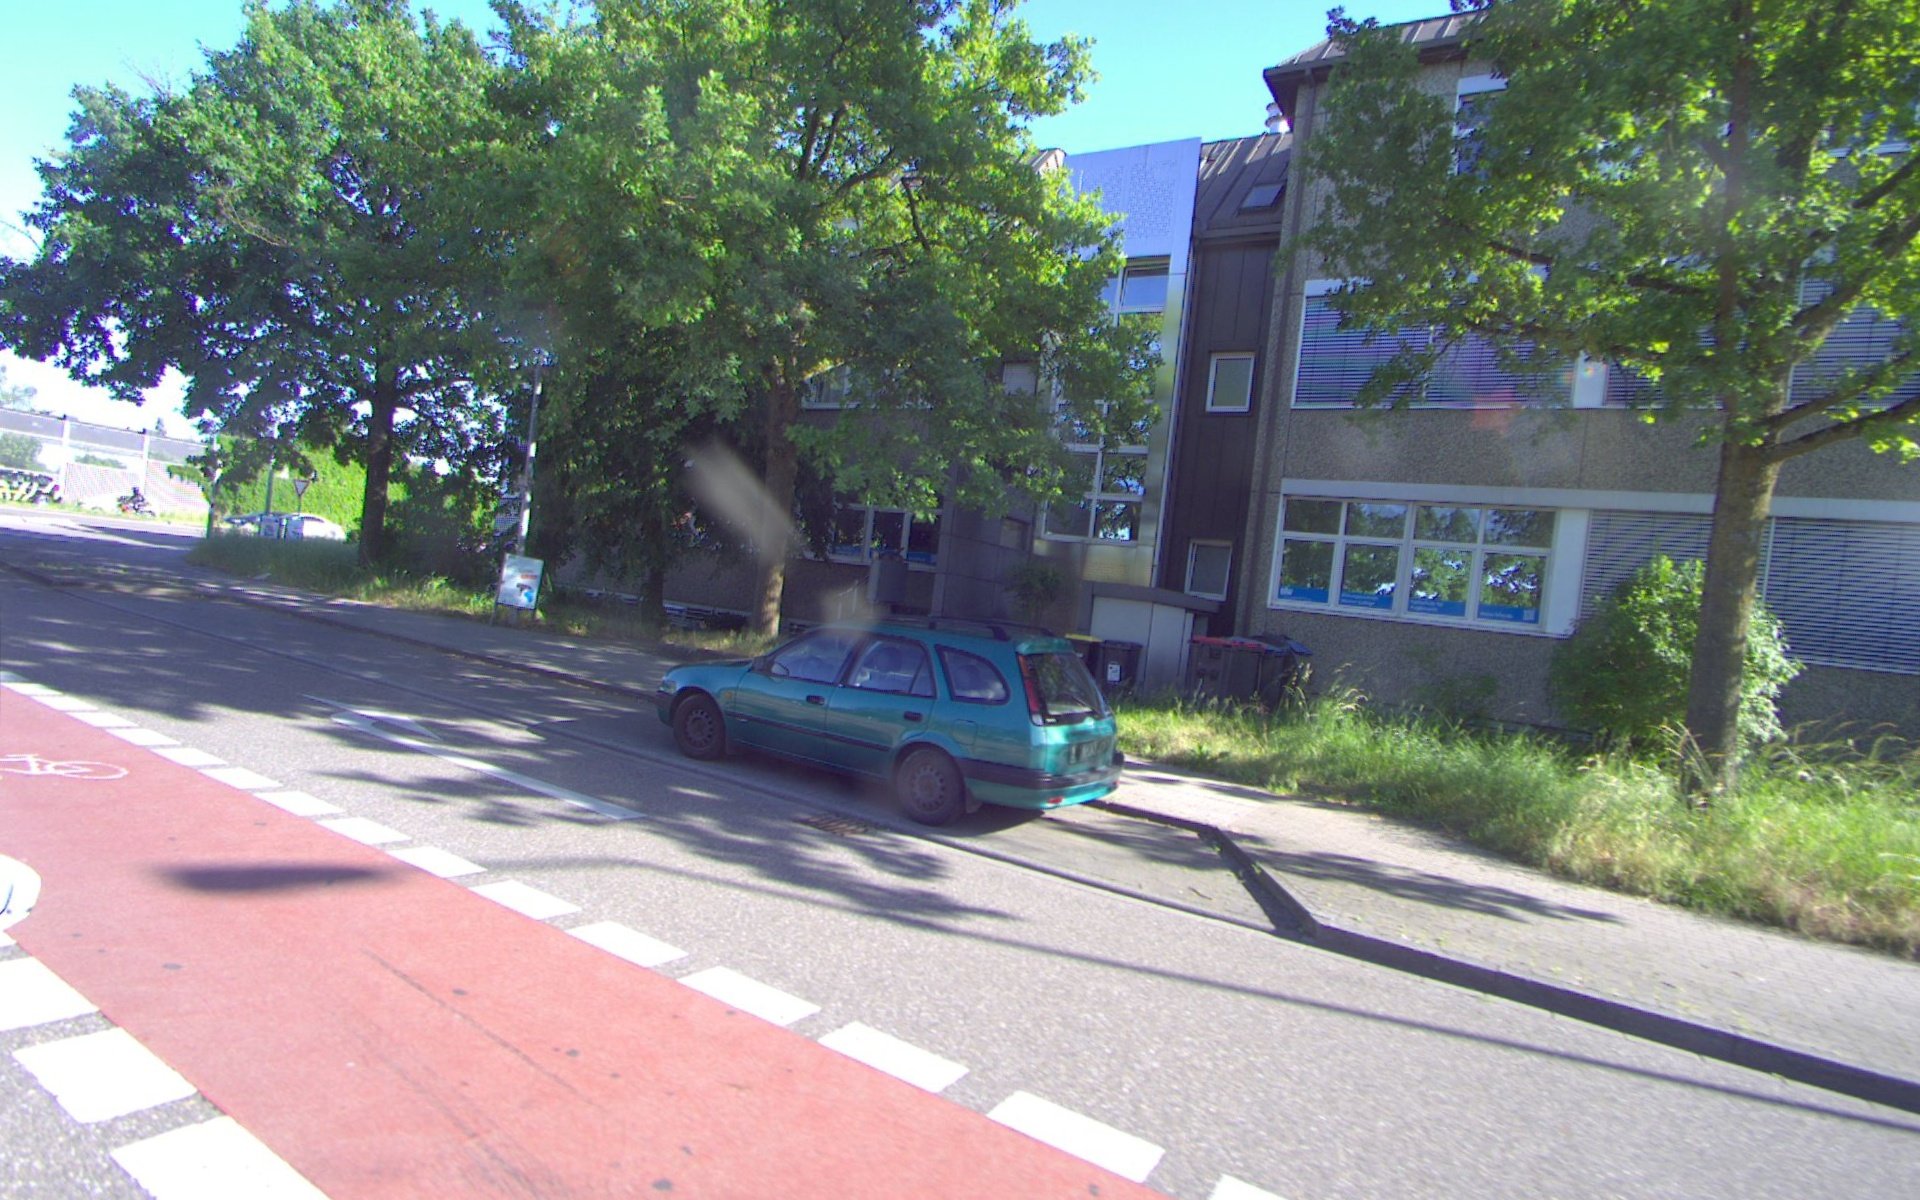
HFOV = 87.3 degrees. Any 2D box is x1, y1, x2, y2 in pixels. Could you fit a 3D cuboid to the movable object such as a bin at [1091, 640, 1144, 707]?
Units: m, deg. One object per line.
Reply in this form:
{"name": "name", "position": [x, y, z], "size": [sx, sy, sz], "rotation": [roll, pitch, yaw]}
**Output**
{"name": "movable object such as a bin", "position": [2.623, 1.226, 16.748], "size": [0.566, 1.019, 0.629], "rotation": [6, -1, 31]}

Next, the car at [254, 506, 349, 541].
{"name": "car", "position": [-38.056, -4.409, 58.265], "size": [1.547, 1.318, 4.297], "rotation": [7, 0, 28]}

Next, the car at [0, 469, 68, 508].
{"name": "car", "position": [-41.301, -4.967, 43.186], "size": [1.548, 1.317, 4.170], "rotation": [6, -2, 28]}

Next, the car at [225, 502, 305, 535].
{"name": "car", "position": [-41.162, -4.822, 59.664], "size": [1.548, 1.318, 3.529], "rotation": [7, 0, 28]}

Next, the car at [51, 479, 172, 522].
{"name": "car", "position": [-42.444, -4.940, 50.415], "size": [1.547, 1.416, 4.297], "rotation": [7, 0, 28]}

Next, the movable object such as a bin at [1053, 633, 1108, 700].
{"name": "movable object such as a bin", "position": [2.042, 1.129, 17.071], "size": [0.571, 1.045, 0.713], "rotation": [7, 1, 31]}

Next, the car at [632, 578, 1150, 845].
{"name": "car", "position": [-0.706, 0.758, 8.484], "size": [4.135, 1.447, 1.593], "rotation": [7, 1, 33]}

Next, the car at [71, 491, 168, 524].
{"name": "car", "position": [-46.747, -5.141, 56.028], "size": [1.548, 1.150, 3.764], "rotation": [7, 0, 28]}

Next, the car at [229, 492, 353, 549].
{"name": "car", "position": [-22.099, -2.585, 33.365], "size": [1.433, 1.311, 3.411], "rotation": [7, -2, 7]}
